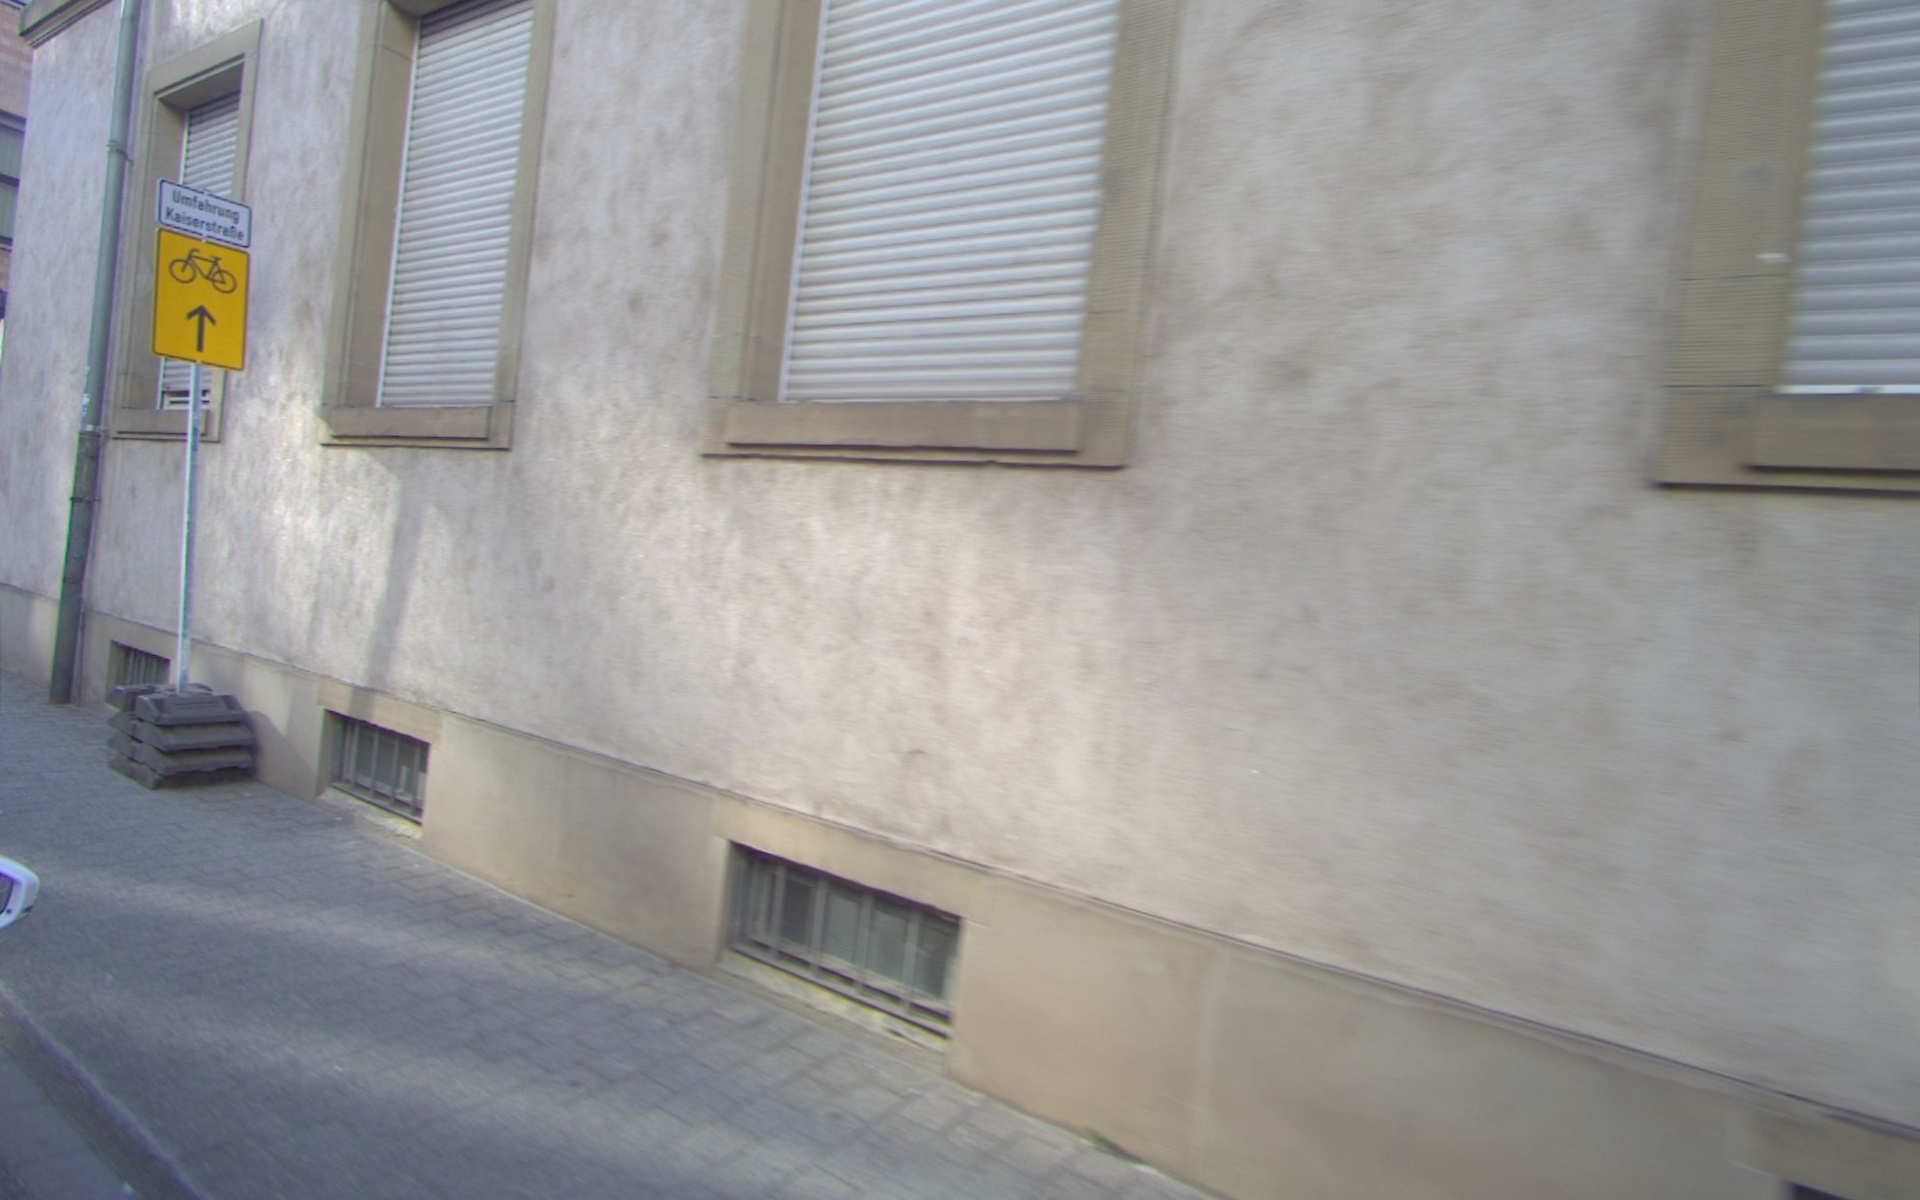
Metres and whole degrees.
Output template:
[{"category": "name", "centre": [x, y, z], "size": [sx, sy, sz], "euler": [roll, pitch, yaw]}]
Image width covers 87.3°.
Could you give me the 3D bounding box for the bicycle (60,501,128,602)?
[{"category": "bicycle", "centre": [-12.598, -0.723, 14.624], "size": [1.625, 1.334, 0.548], "euler": [7, 2, 45]}]
